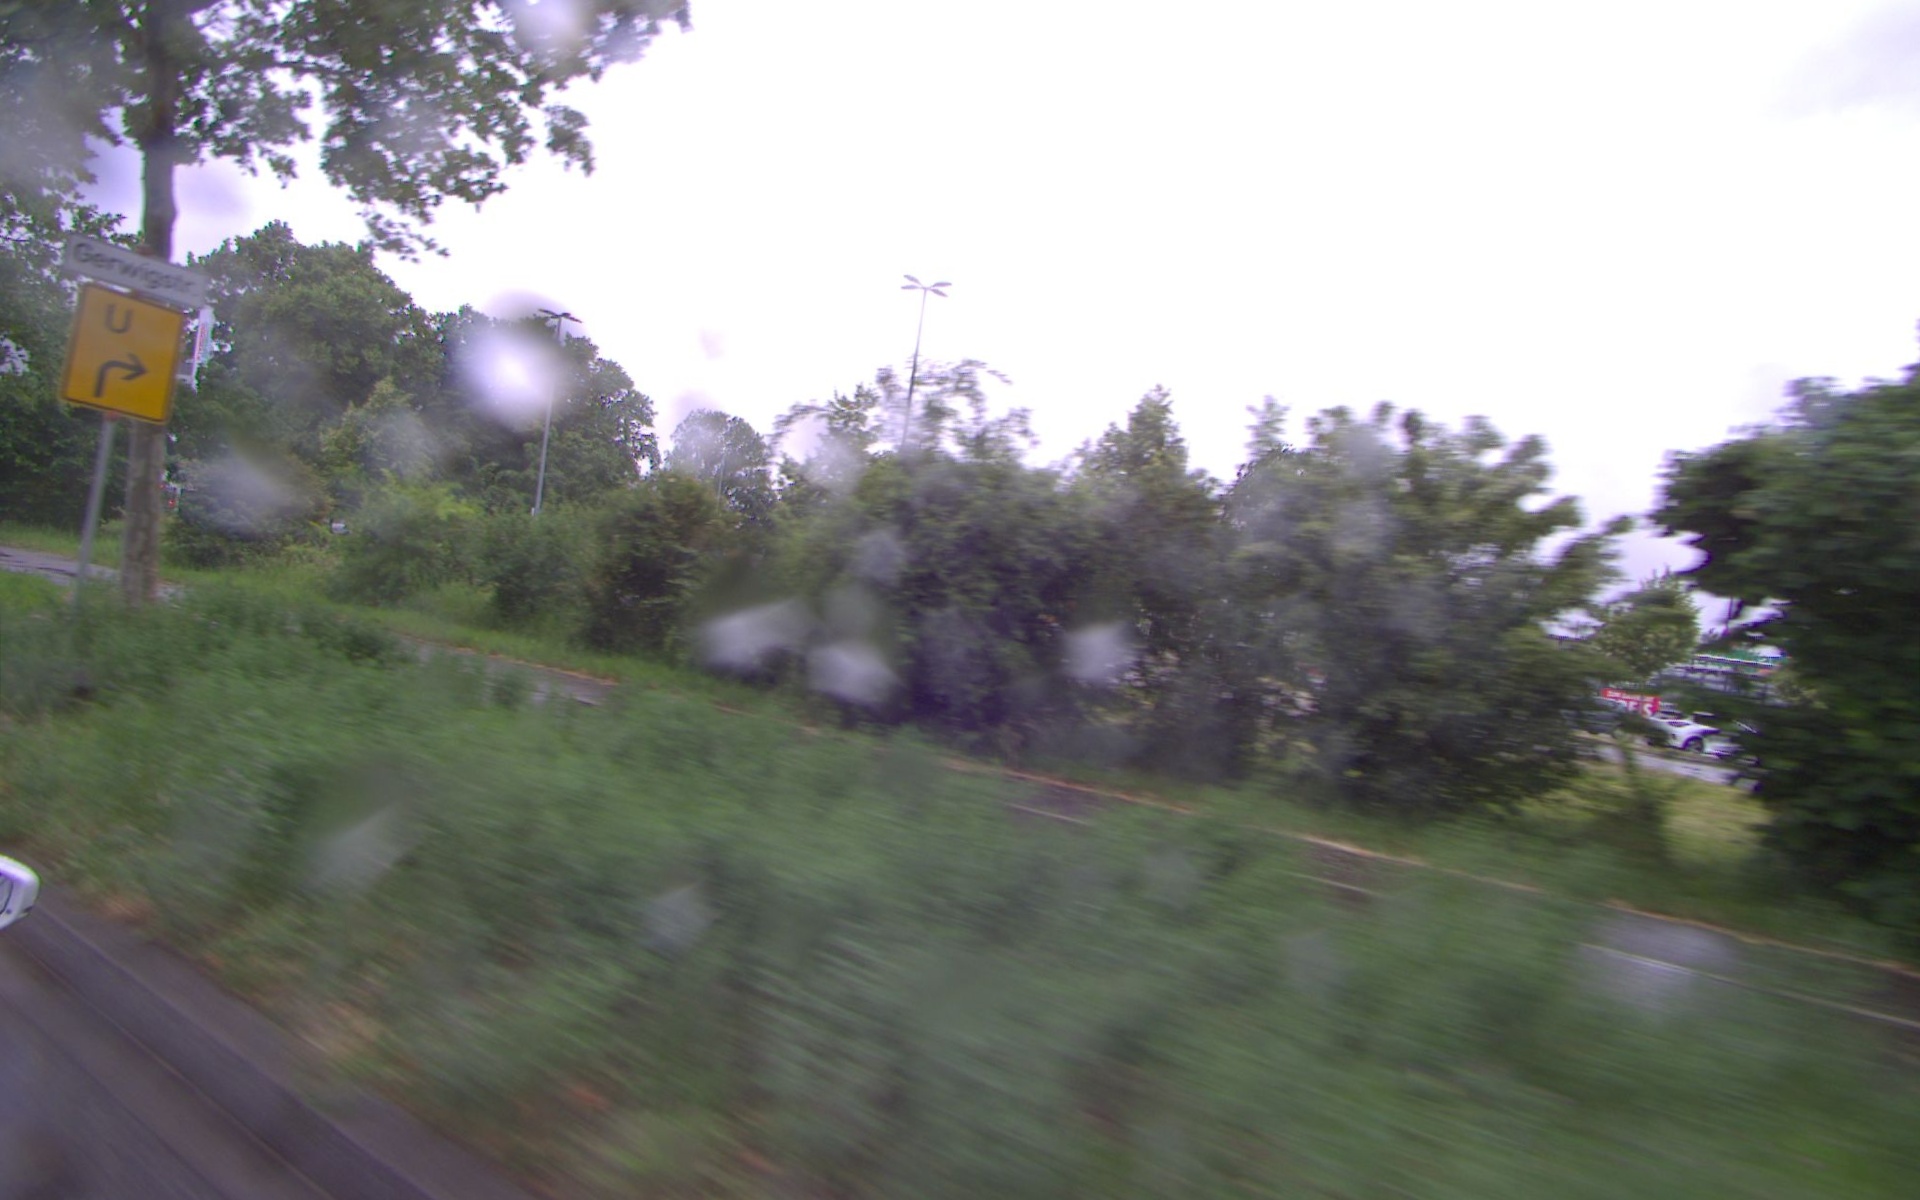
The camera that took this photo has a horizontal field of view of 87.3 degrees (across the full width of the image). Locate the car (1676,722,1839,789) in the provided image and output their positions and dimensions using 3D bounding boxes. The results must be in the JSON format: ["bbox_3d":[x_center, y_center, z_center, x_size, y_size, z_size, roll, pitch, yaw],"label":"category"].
[{"bbox_3d":[26.712,5.202,33.780,4.002,1.496,1.785,8,-1,-3],"label":"car"}]

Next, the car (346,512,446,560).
[{"bbox_3d":[-34.684,-3.932,62.013,4.833,2.179,1.804,8,0,-9],"label":"car"}]

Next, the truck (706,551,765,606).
[{"bbox_3d":[-18.665,-1.676,84.143,2.950,3.855,8.954,7,-1,-3],"label":"truck"}]
